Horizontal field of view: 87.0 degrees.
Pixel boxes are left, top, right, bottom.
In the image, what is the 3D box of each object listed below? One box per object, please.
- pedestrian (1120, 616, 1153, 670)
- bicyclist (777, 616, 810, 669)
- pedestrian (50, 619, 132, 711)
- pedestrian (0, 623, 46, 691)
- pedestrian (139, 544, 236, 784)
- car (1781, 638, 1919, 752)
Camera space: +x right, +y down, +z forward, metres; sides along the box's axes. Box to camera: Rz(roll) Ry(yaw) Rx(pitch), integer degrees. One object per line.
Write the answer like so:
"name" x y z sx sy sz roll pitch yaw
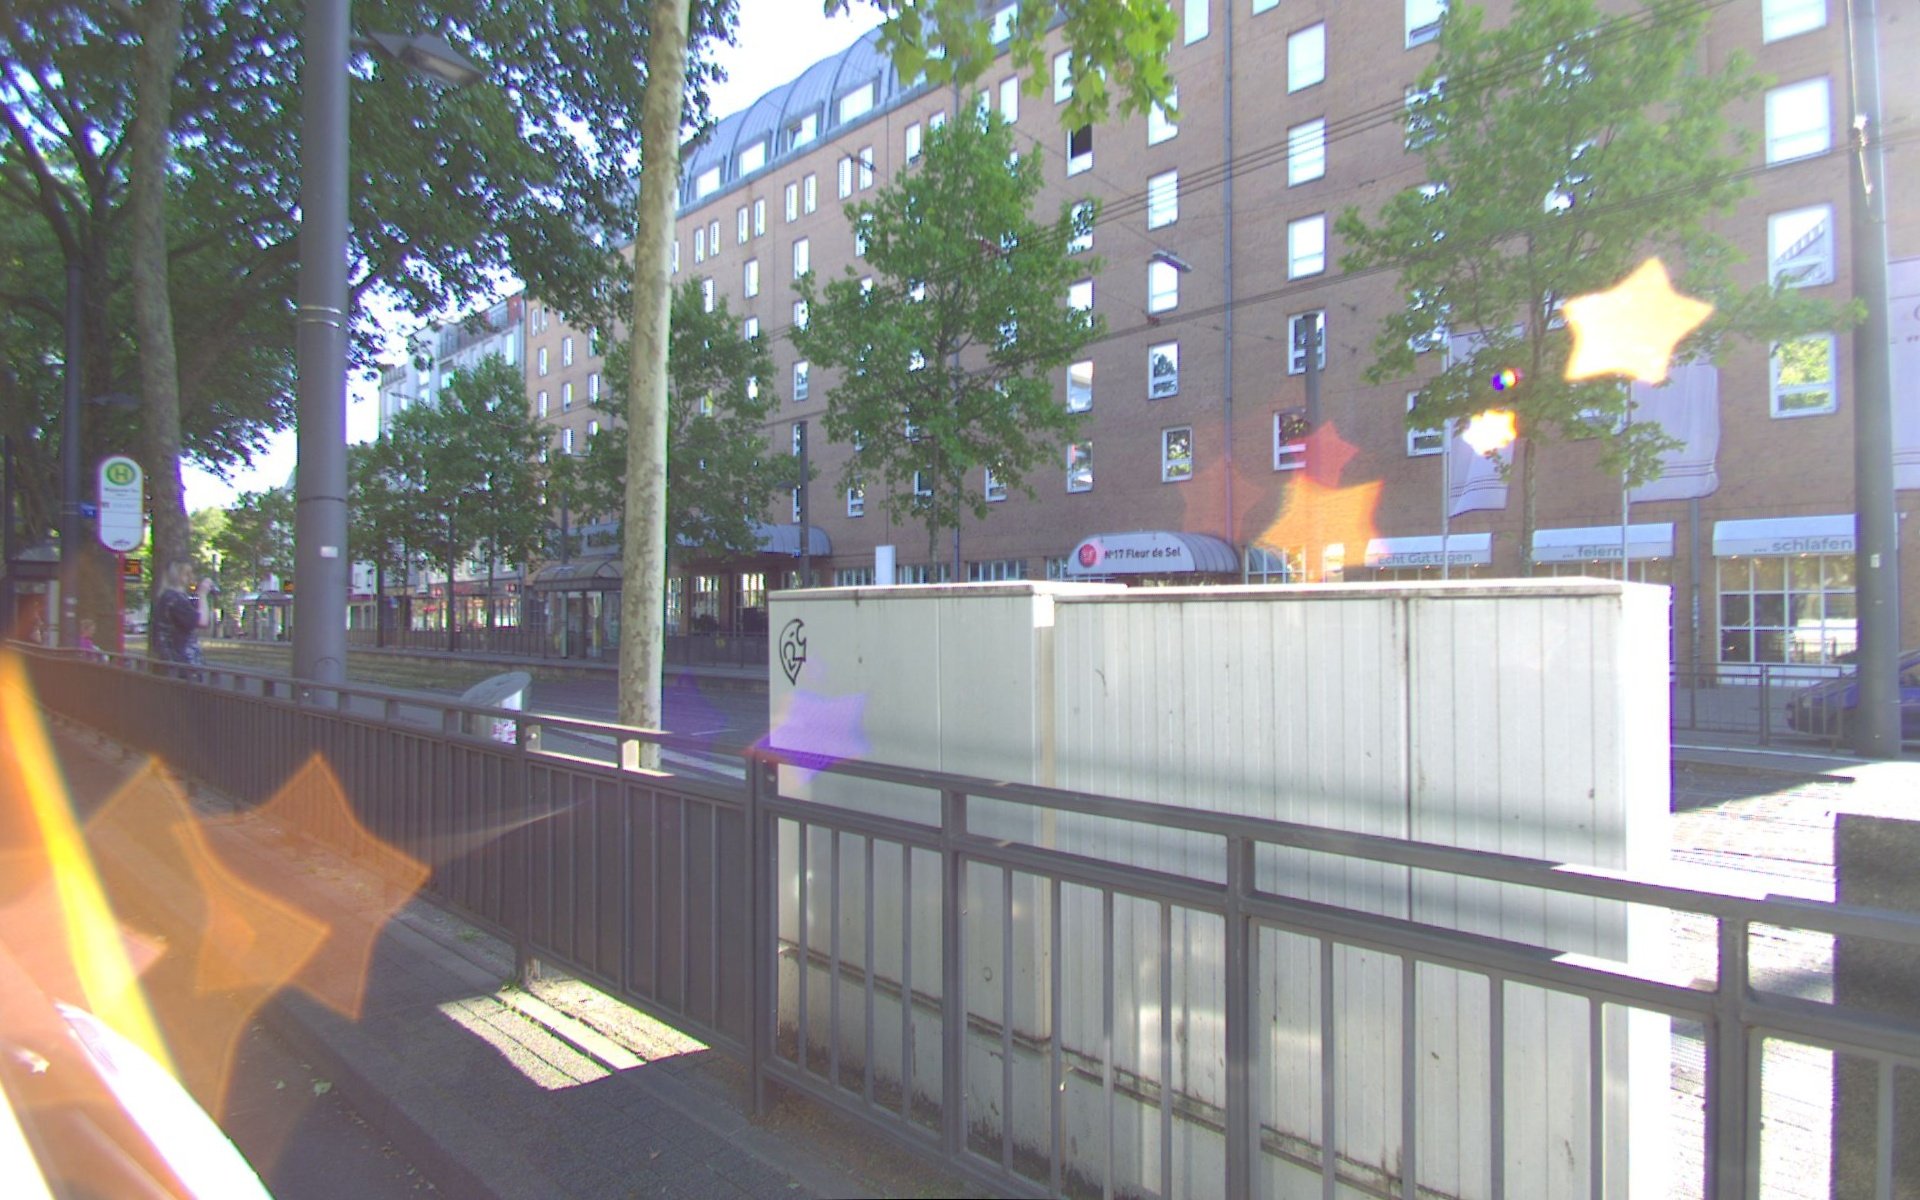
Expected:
"pedestrian" 5.370 1.308 30.801 0.725 1.596 0.583 -3 0 40
"bicyclist" -5.663 1.437 34.476 0.852 1.799 0.742 -2 -3 44
"pedestrian" -14.015 1.021 16.324 0.965 1.410 0.665 -1 0 -44
"pedestrian" -20.140 1.206 21.745 0.725 1.398 0.641 -1 0 -44
"pedestrian" -6.505 0.508 8.518 0.760 1.914 0.504 -1 0 42
"car" 12.975 1.214 13.156 3.292 1.409 1.623 -1 -2 29
